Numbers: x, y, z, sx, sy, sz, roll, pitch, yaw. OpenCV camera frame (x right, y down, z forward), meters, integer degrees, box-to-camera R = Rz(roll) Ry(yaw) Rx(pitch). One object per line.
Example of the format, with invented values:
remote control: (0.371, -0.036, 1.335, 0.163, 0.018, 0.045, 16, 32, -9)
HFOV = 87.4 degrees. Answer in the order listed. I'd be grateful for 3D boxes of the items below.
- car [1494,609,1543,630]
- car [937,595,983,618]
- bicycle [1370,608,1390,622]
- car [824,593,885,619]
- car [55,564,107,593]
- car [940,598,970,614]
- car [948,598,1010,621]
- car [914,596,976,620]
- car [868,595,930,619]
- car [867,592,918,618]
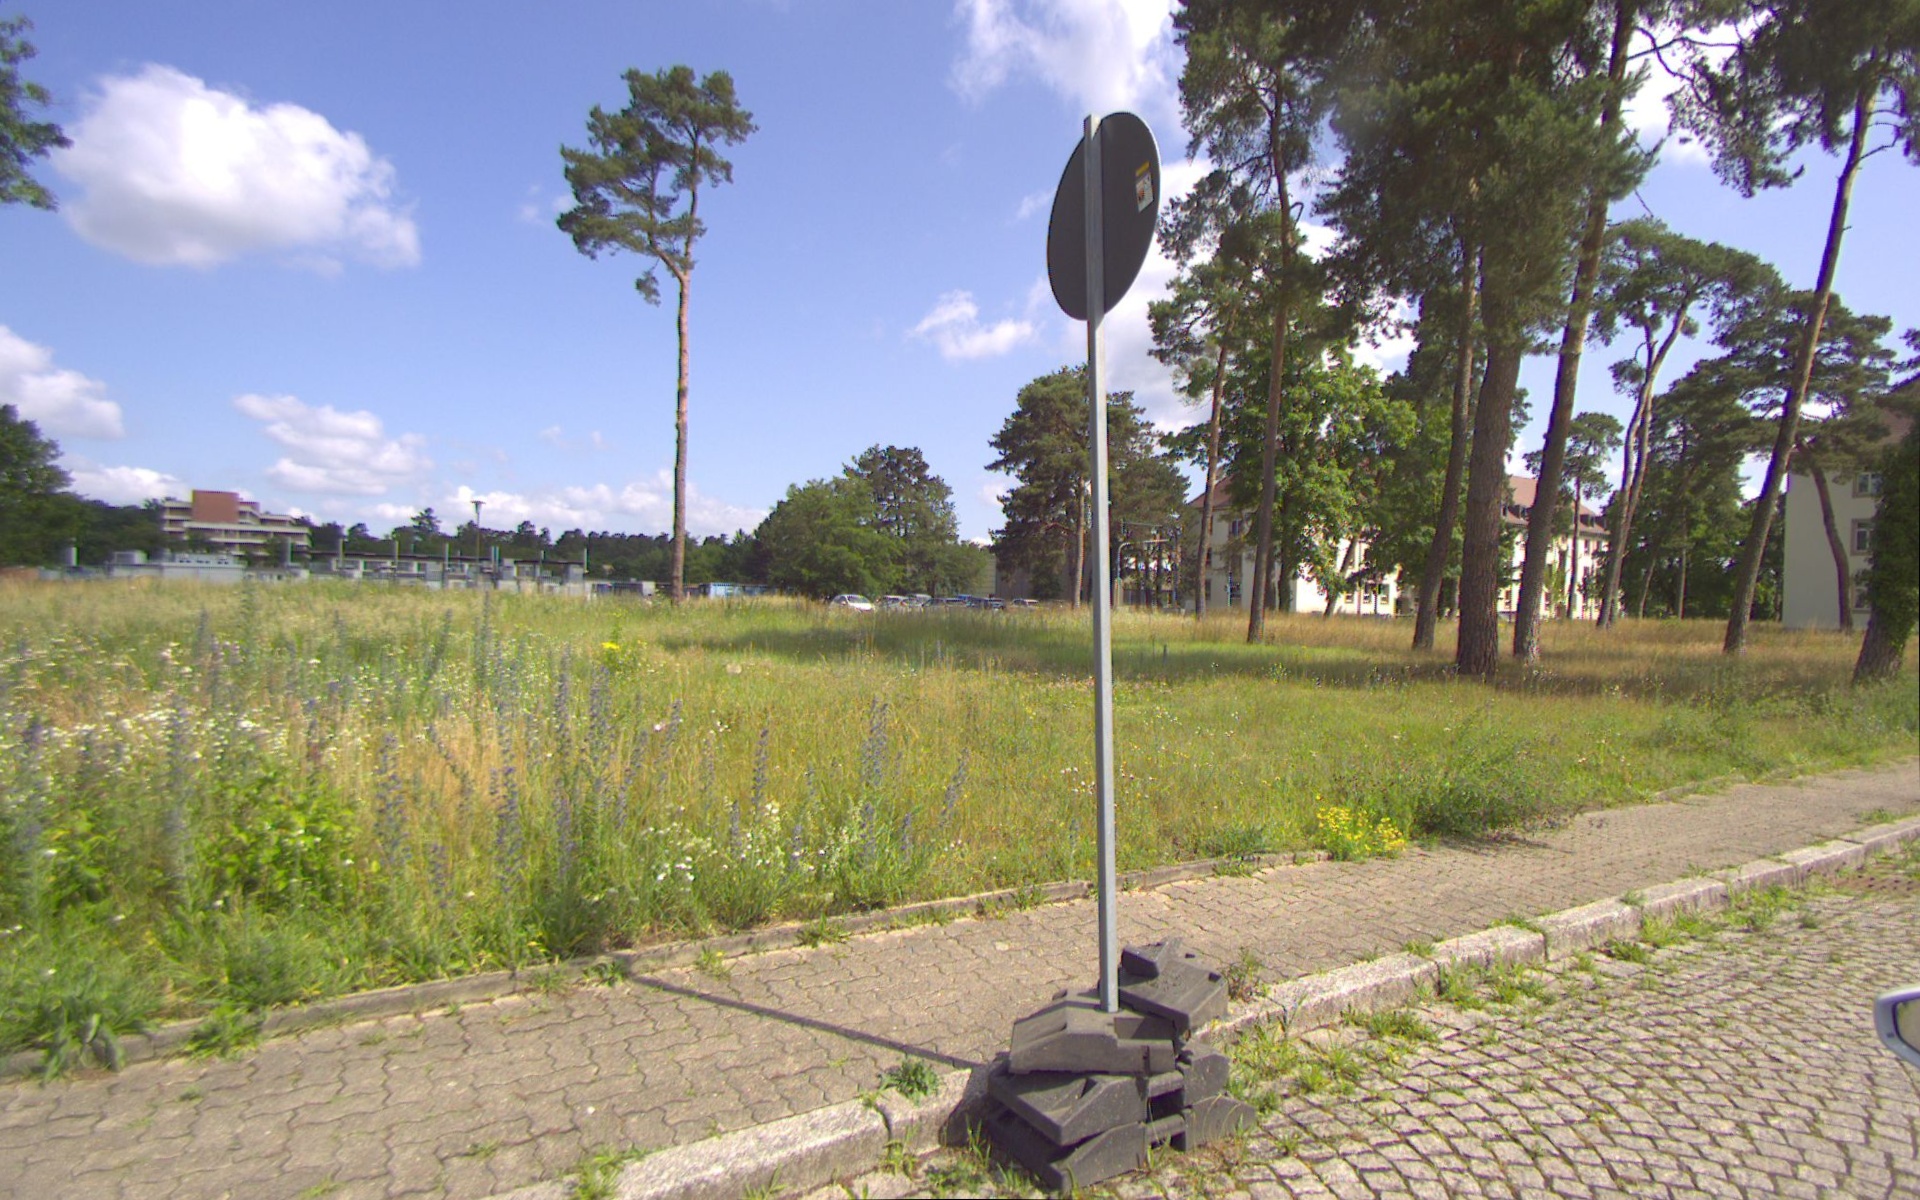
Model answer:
car: (56.098, 1.929, 101.000, 1.693, 2.018, 4.039, 1, 0, -30)
car: (-0.003, 0.544, 82.465, 1.880, 1.804, 4.043, 2, 0, -32)
bicycle: (32.994, 1.187, 78.875, 1.562, 1.115, 0.489, 2, 0, -20)
car: (-6.043, 0.322, 57.029, 1.880, 1.367, 4.035, 2, 0, -32)
car: (-56.372, -1.352, 64.494, 1.880, 1.725, 4.043, 2, 0, -32)
car: (-0.671, 0.792, 132.823, 3.638, 2.116, 1.721, 2, 0, -22)
car: (1.117, 0.571, 61.087, 1.880, 1.327, 4.043, 2, 0, -32)
car: (-0.940, 0.488, 59.946, 1.880, 1.337, 4.043, 2, 0, -32)
car: (-3.617, 0.404, 58.990, 1.880, 1.356, 4.043, 2, 0, -32)
car: (-4.777, 0.335, 70.388, 1.880, 1.725, 4.043, 2, 0, -32)
